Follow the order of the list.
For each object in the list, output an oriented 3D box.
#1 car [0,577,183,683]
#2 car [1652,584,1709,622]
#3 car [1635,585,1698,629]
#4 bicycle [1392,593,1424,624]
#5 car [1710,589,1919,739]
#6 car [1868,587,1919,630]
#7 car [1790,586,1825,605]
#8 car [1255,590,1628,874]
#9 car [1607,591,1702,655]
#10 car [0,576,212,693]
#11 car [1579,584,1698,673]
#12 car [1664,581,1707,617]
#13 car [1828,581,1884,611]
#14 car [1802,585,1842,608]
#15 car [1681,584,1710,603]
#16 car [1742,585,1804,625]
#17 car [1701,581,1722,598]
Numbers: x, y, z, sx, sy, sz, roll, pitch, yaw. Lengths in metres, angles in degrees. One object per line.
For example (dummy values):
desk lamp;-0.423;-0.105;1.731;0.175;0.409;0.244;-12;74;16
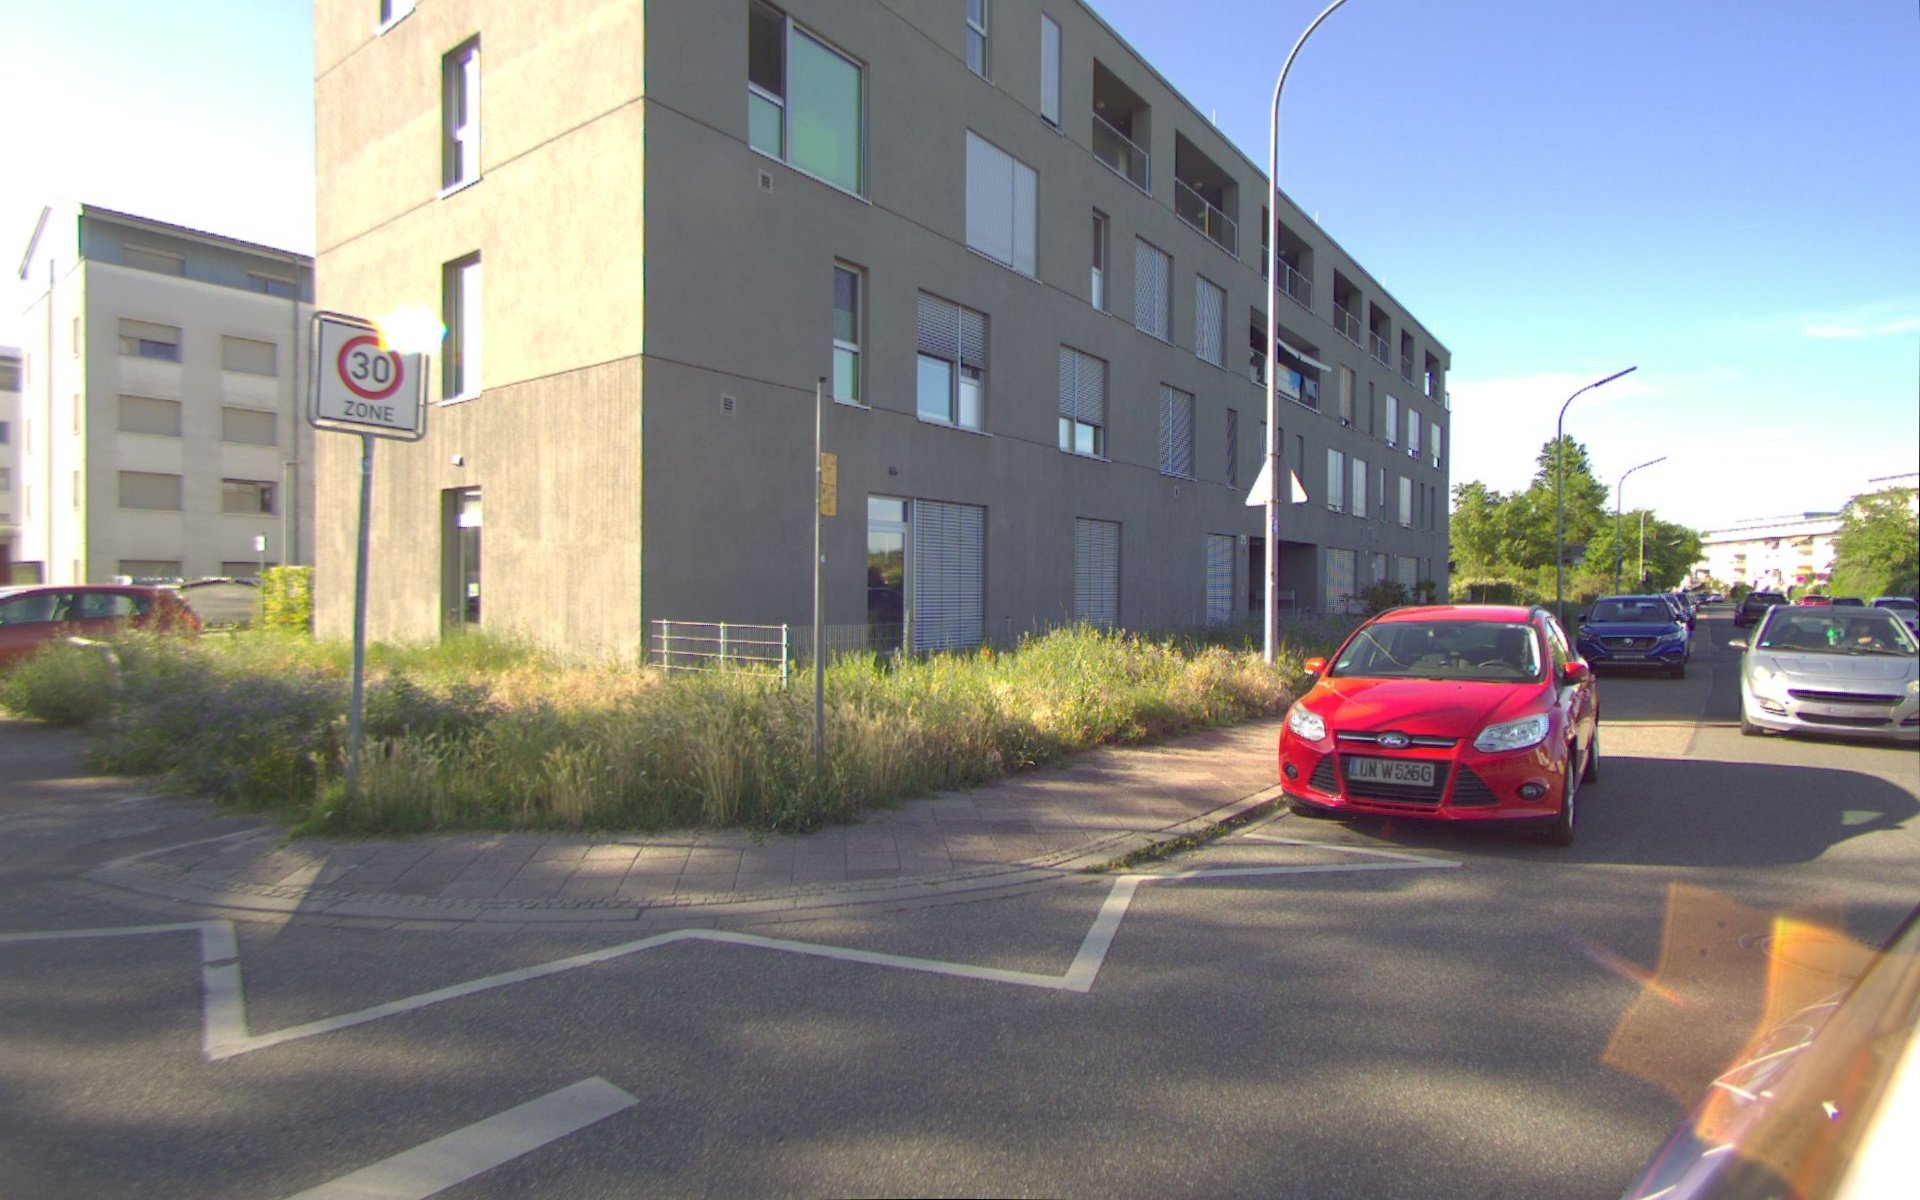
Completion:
car;-14.574;0.429;15.523;1.689;1.539;3.946;2;1;37
car;31.779;0.119;44.587;1.741;1.586;4.736;-1;0;39
car;26.271;0.224;37.580;1.703;1.545;4.099;-1;0;38
bicycle;16.155;0.282;36.486;0.551;1.074;1.815;0;0;41
car;10.183;0.618;11.956;1.666;1.466;3.958;1;1;30
car;34.866;0.277;37.467;1.523;1.507;3.357;0;1;37
car;61.686;-0.356;73.683;1.691;1.386;3.859;1;1;37
car;3.924;0.690;7.772;1.814;1.518;4.394;0;0;36
car;17.747;0.532;25.786;1.741;1.447;4.524;-1;0;37
car;-12.849;0.430;13.816;1.689;1.488;3.946;2;1;37
car;14.024;0.523;20.841;1.811;1.620;4.568;-2;-1;36
car;37.846;-0.070;52.836;1.701;1.727;4.294;-2;-1;36
car;45.344;-0.220;51.304;1.691;1.441;4.457;-2;-1;37
car;56.046;-0.266;65.850;1.691;1.447;4.328;1;1;37
car;61.632;-0.595;84.803;1.864;1.545;4.099;0;1;38
car;38.211;0.188;47.669;1.936;1.749;4.778;1;1;35
car;91.275;-1.316;122.881;1.989;2.039;3.947;1;1;37
